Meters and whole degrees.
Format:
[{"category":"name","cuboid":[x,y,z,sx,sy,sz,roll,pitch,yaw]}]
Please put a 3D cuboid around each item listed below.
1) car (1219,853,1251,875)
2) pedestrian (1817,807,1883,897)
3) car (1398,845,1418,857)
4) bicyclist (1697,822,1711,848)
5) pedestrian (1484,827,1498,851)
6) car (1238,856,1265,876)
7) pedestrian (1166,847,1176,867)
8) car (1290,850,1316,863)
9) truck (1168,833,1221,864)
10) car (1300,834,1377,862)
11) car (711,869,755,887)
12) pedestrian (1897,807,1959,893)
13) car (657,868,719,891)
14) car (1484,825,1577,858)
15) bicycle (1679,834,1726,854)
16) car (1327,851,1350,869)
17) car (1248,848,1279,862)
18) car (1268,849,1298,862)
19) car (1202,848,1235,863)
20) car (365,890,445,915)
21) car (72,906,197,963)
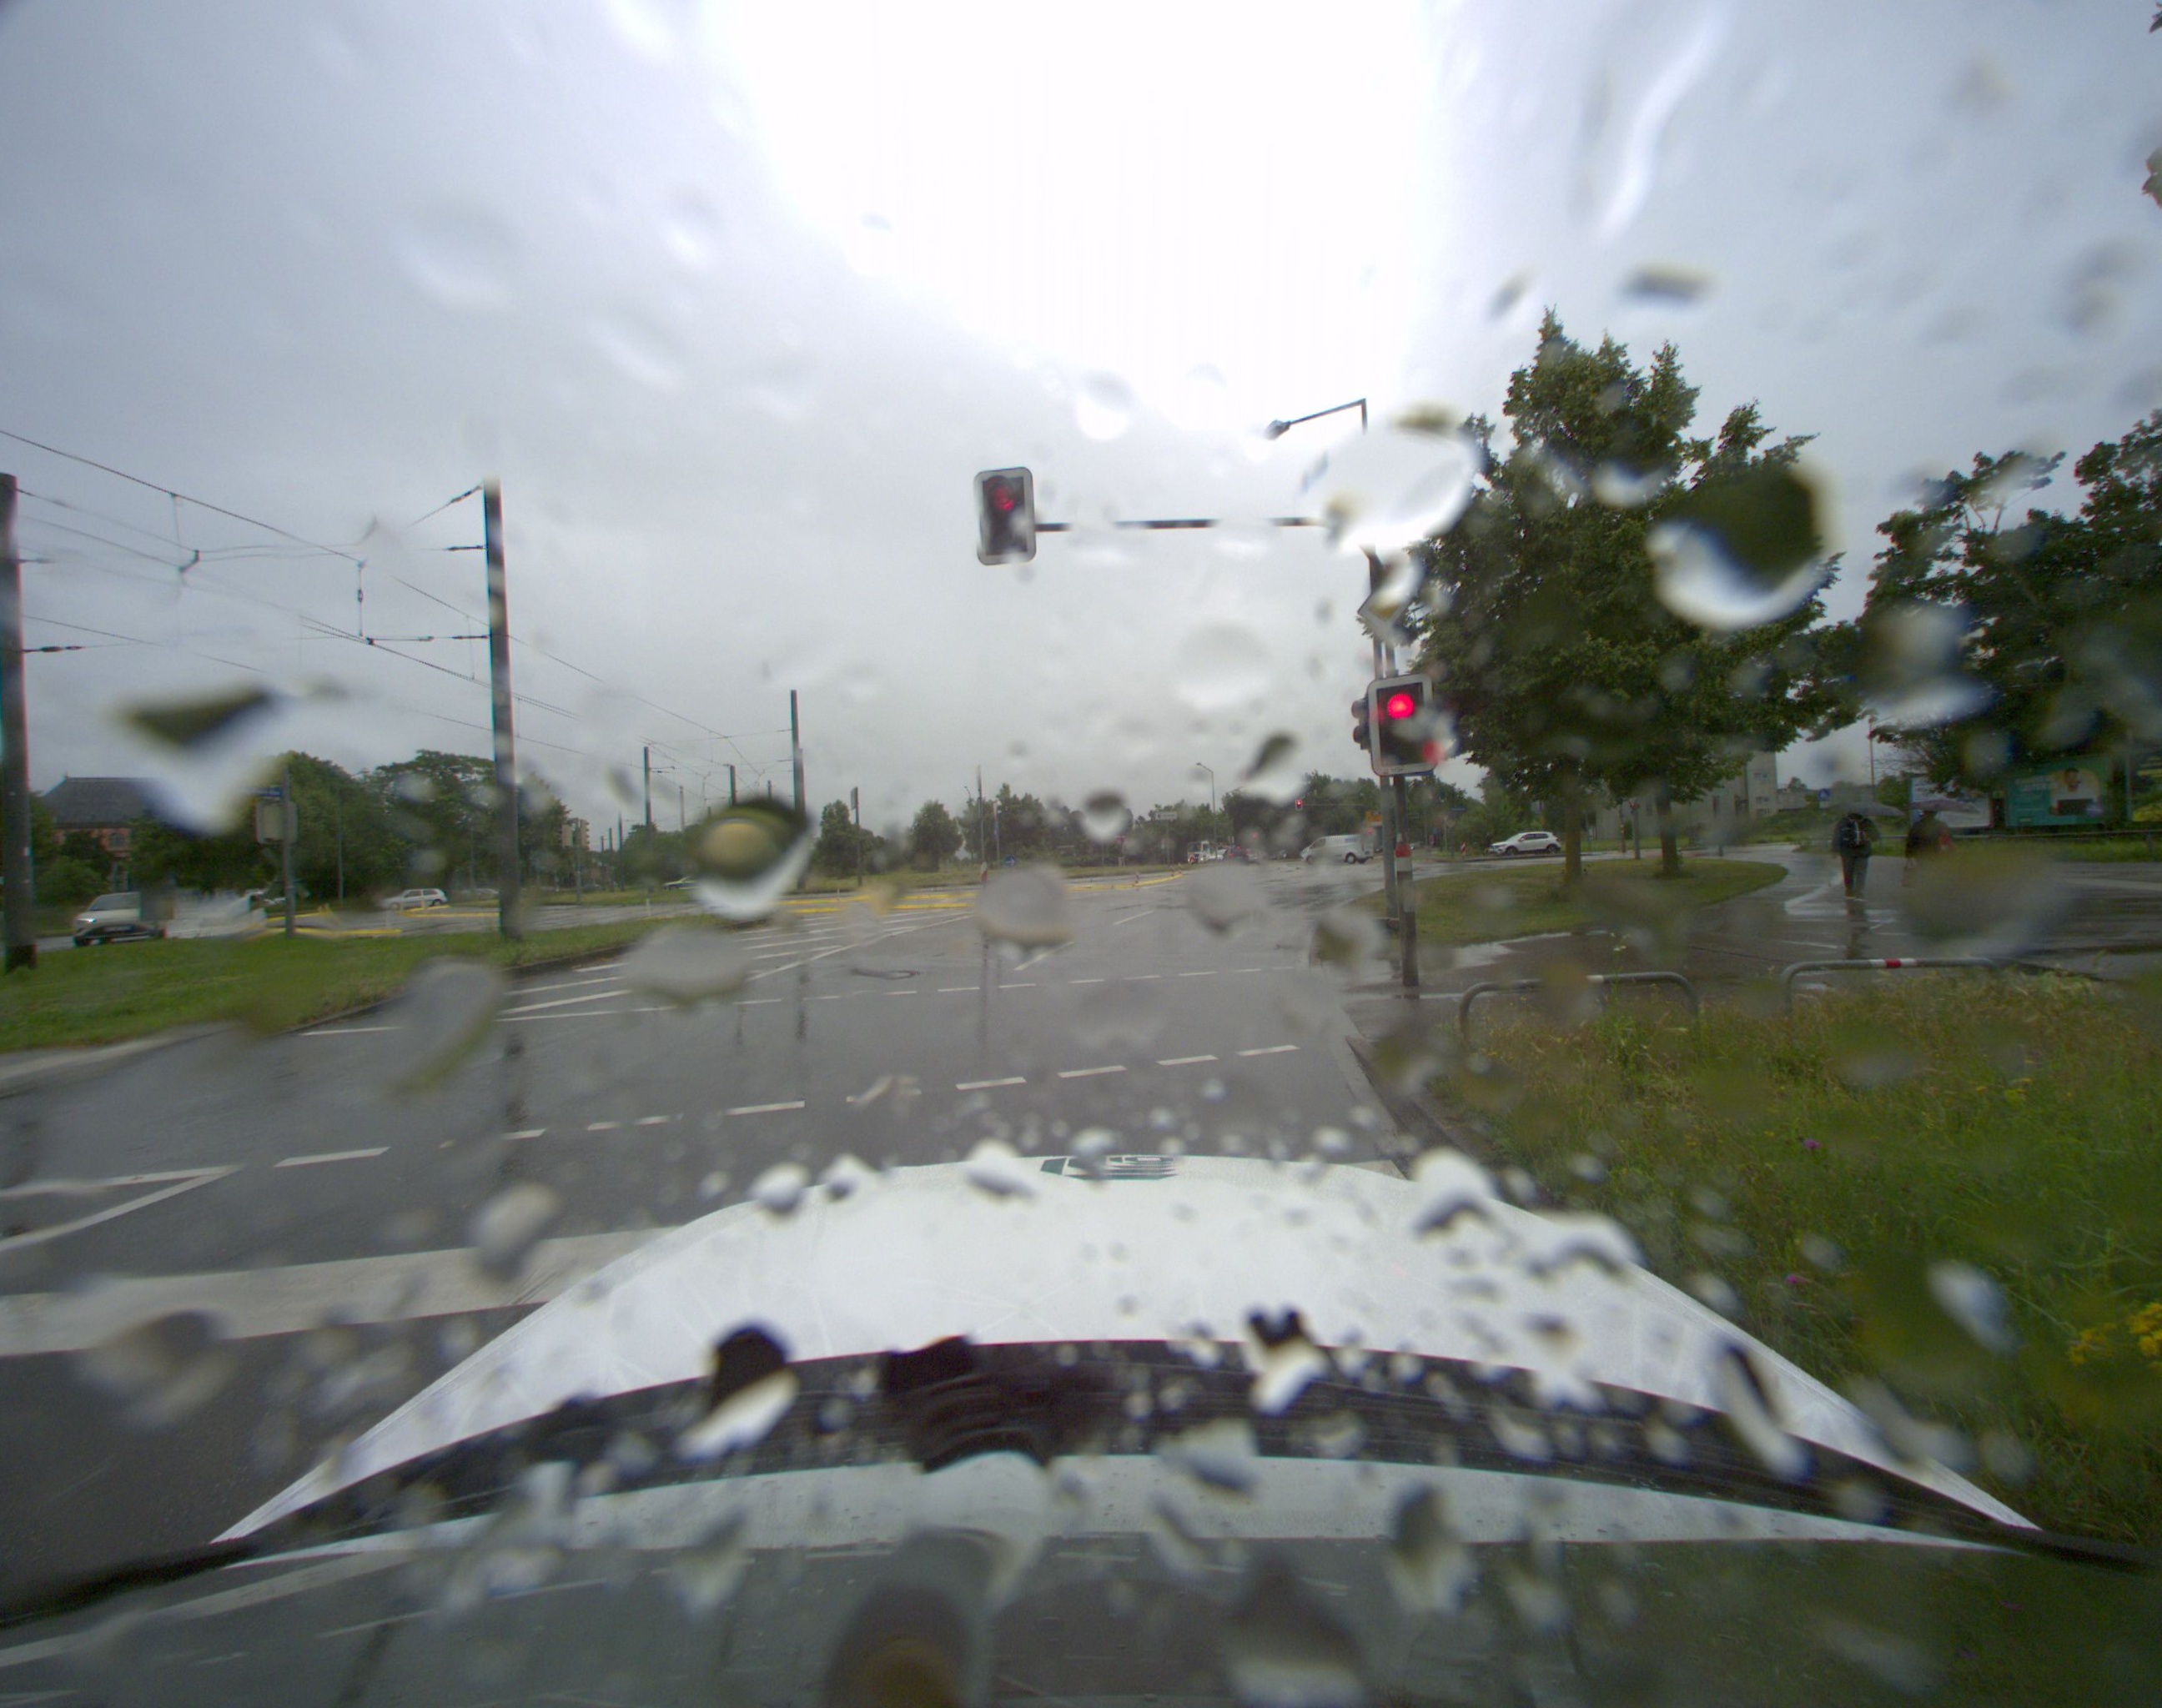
[{"category":"car","cuboid":[13.315,0.863,70.598,1.986,1.851,4.776,0,-1,1]},{"category":"pedestrian","cuboid":[13.543,-0.034,14.345,0.625,1.522,0.733,0,-1,-36]},{"category":"car","cuboid":[56.979,-0.483,141.918,1.974,2.014,4.025,-1,-1,39]},{"category":"bicyclist","cuboid":[42.117,-1.279,55.036,0.585,1.742,0.498,-1,-1,13]},{"category":"pedestrian","cuboid":[32.010,-1.181,63.578,0.811,1.868,0.670,0,-1,9]},{"category":"car","cuboid":[16.158,1.136,76.938,1.978,1.851,4.797,-1,-1,17]},{"category":"pedestrian","cuboid":[6.016,0.229,54.337,0.448,1.304,0.489,-3,-1,40]},{"category":"car","cuboid":[29.269,0.297,107.332,1.779,1.662,4.024,-1,-1,42]},{"category":"truck","cuboid":[10.430,-0.408,74.031,2.439,2.686,8.105,-1,-1,25]},{"category":"car","cuboid":[17.927,-0.375,56.771,4.714,1.851,2.013,-1,-1,38]},{"category":"car","cuboid":[-36.915,2.509,86.412,1.660,1.816,4.025,-1,-1,31]},{"category":"pedestrian","cuboid":[14.998,-0.065,14.421,0.685,1.461,0.567,-3,-2,-34]},{"category":"car","cuboid":[-35.621,2.297,73.875,4.796,1.851,1.978,-2,0,-35]},{"category":"car","cuboid":[28.496,-0.761,51.701,4.739,1.851,2.002,-3,0,3]},{"category":"bicycle","cuboid":[42.018,-0.697,55.052,2.485,1.314,0.573,-1,-1,12]},{"category":"car","cuboid":[22.341,0.509,70.820,1.606,1.454,4.003,-2,0,14]},{"category":"car","cuboid":[21.887,0.168,97.670,1.779,1.662,4.024,-1,-1,43]},{"category":"car","cuboid":[25.222,0.217,101.509,1.779,1.662,4.436,-1,-1,43]},{"category":"car","cuboid":[16.262,0.170,96.112,1.779,1.662,4.159,-1,-1,43]},{"category":"car","cuboid":[-47.668,3.420,57.479,1.603,1.454,4.012,-3,0,29]},{"category":"car","cuboid":[-30.115,2.499,26.047,1.630,1.454,4.068,-2,0,-35]}]
